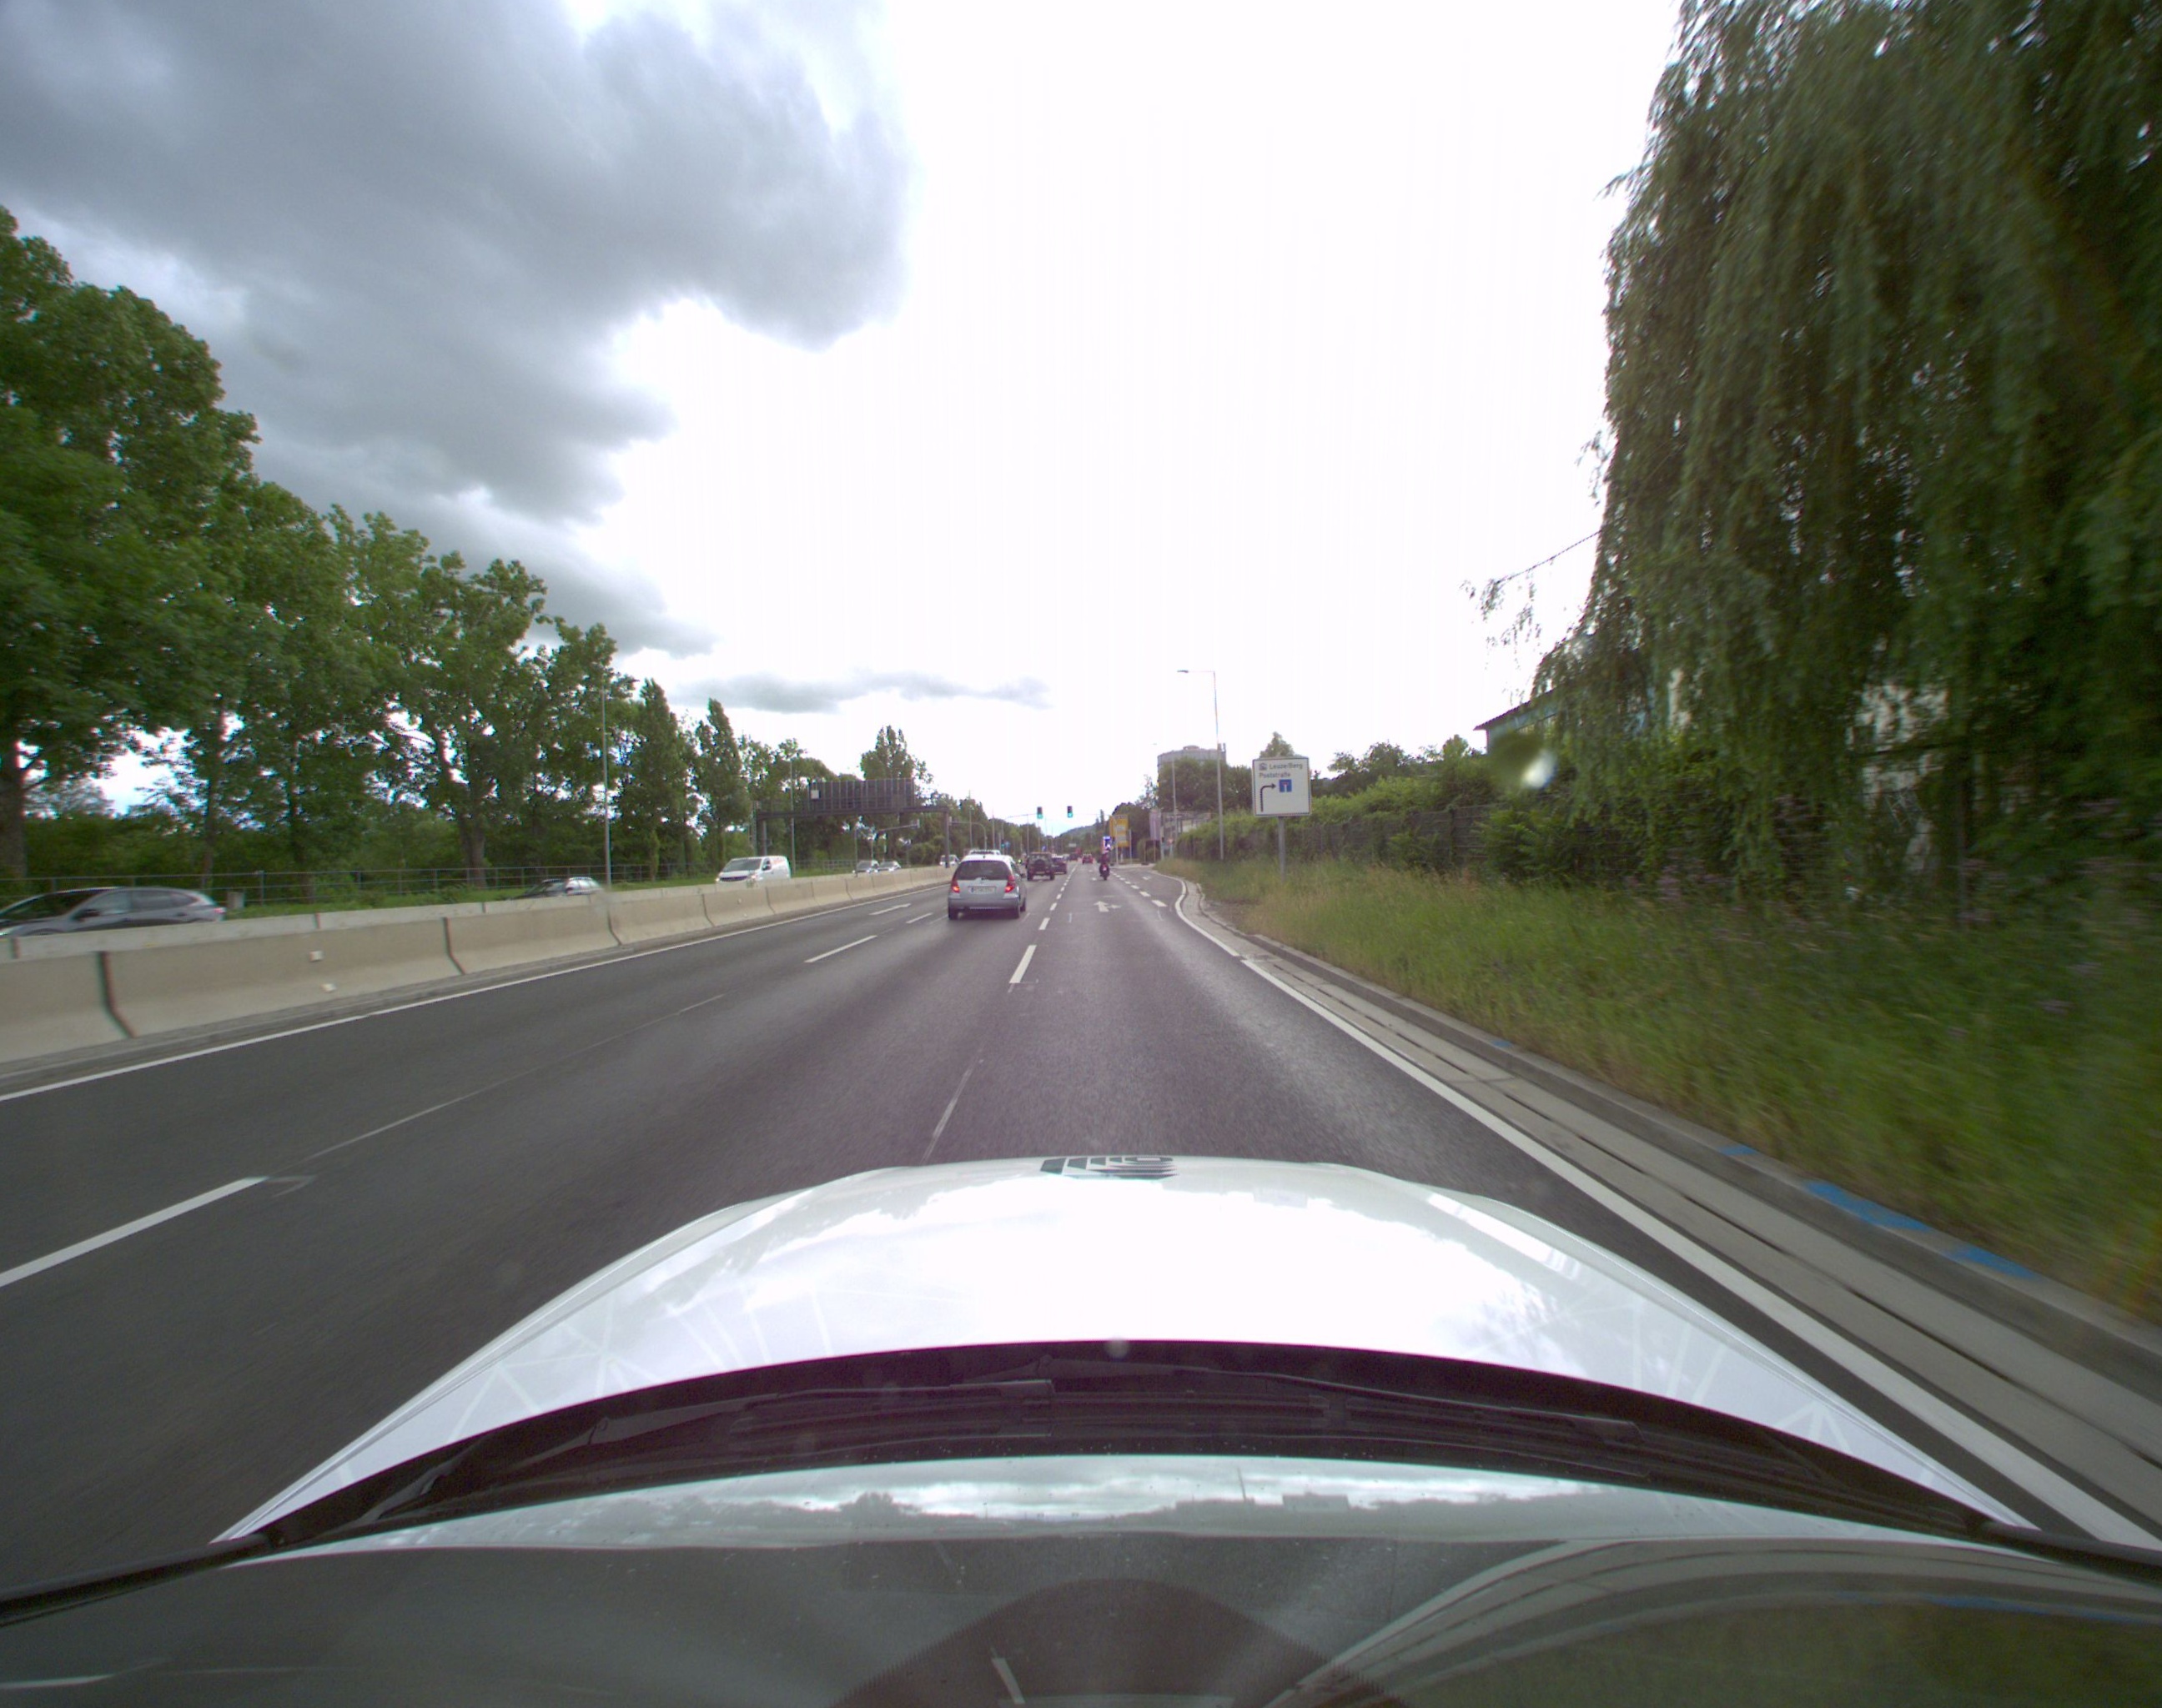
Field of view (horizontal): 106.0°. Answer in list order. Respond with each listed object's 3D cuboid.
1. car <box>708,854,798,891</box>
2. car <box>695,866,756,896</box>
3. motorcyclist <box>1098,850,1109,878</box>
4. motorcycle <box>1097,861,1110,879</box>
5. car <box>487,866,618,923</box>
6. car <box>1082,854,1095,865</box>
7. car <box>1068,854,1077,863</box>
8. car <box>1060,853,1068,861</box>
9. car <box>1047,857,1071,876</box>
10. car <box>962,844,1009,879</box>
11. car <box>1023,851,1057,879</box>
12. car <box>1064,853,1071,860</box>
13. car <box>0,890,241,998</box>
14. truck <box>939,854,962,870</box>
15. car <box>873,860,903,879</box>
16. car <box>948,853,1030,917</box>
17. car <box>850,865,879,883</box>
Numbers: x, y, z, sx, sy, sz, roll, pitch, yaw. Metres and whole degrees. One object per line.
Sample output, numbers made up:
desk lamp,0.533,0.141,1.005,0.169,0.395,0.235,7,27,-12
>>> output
car,-14.956,0.816,37.495,1.985,1.559,4.889,0,0,2
car,-21.395,1.583,49.172,1.872,1.683,4.122,0,0,0
motorcyclist,1.325,0.570,47.904,0.682,1.610,0.845,0,0,1
motorcycle,1.330,0.916,47.831,0.704,1.040,2.028,0,0,2
car,-20.802,1.530,32.351,1.985,2.013,4.667,0,0,2
car,1.180,0.849,128.573,1.988,1.552,3.998,0,0,-1
car,-1.841,1.074,185.256,1.987,2.013,4.000,0,0,1
car,-4.655,0.865,224.689,1.987,2.013,4.000,0,0,1
car,-1.747,0.987,65.529,1.834,1.464,3.999,0,0,0
car,-5.398,0.392,46.598,2.208,1.925,4.999,0,0,-1
car,-2.510,0.639,50.776,1.901,1.684,4.000,0,0,0
car,-4.204,0.728,250.327,1.987,2.013,4.000,0,0,1
car,-20.449,1.709,16.676,1.987,1.739,4.304,0,0,0
truck,-17.766,1.082,111.204,2.198,2.013,6.300,0,0,-1
car,-18.302,1.437,77.567,1.872,1.683,4.125,0,0,0
car,-2.316,0.737,21.425,1.705,1.530,3.999,0,0,0
car,-21.614,2.026,81.503,1.872,1.683,3.927,0,0,0
